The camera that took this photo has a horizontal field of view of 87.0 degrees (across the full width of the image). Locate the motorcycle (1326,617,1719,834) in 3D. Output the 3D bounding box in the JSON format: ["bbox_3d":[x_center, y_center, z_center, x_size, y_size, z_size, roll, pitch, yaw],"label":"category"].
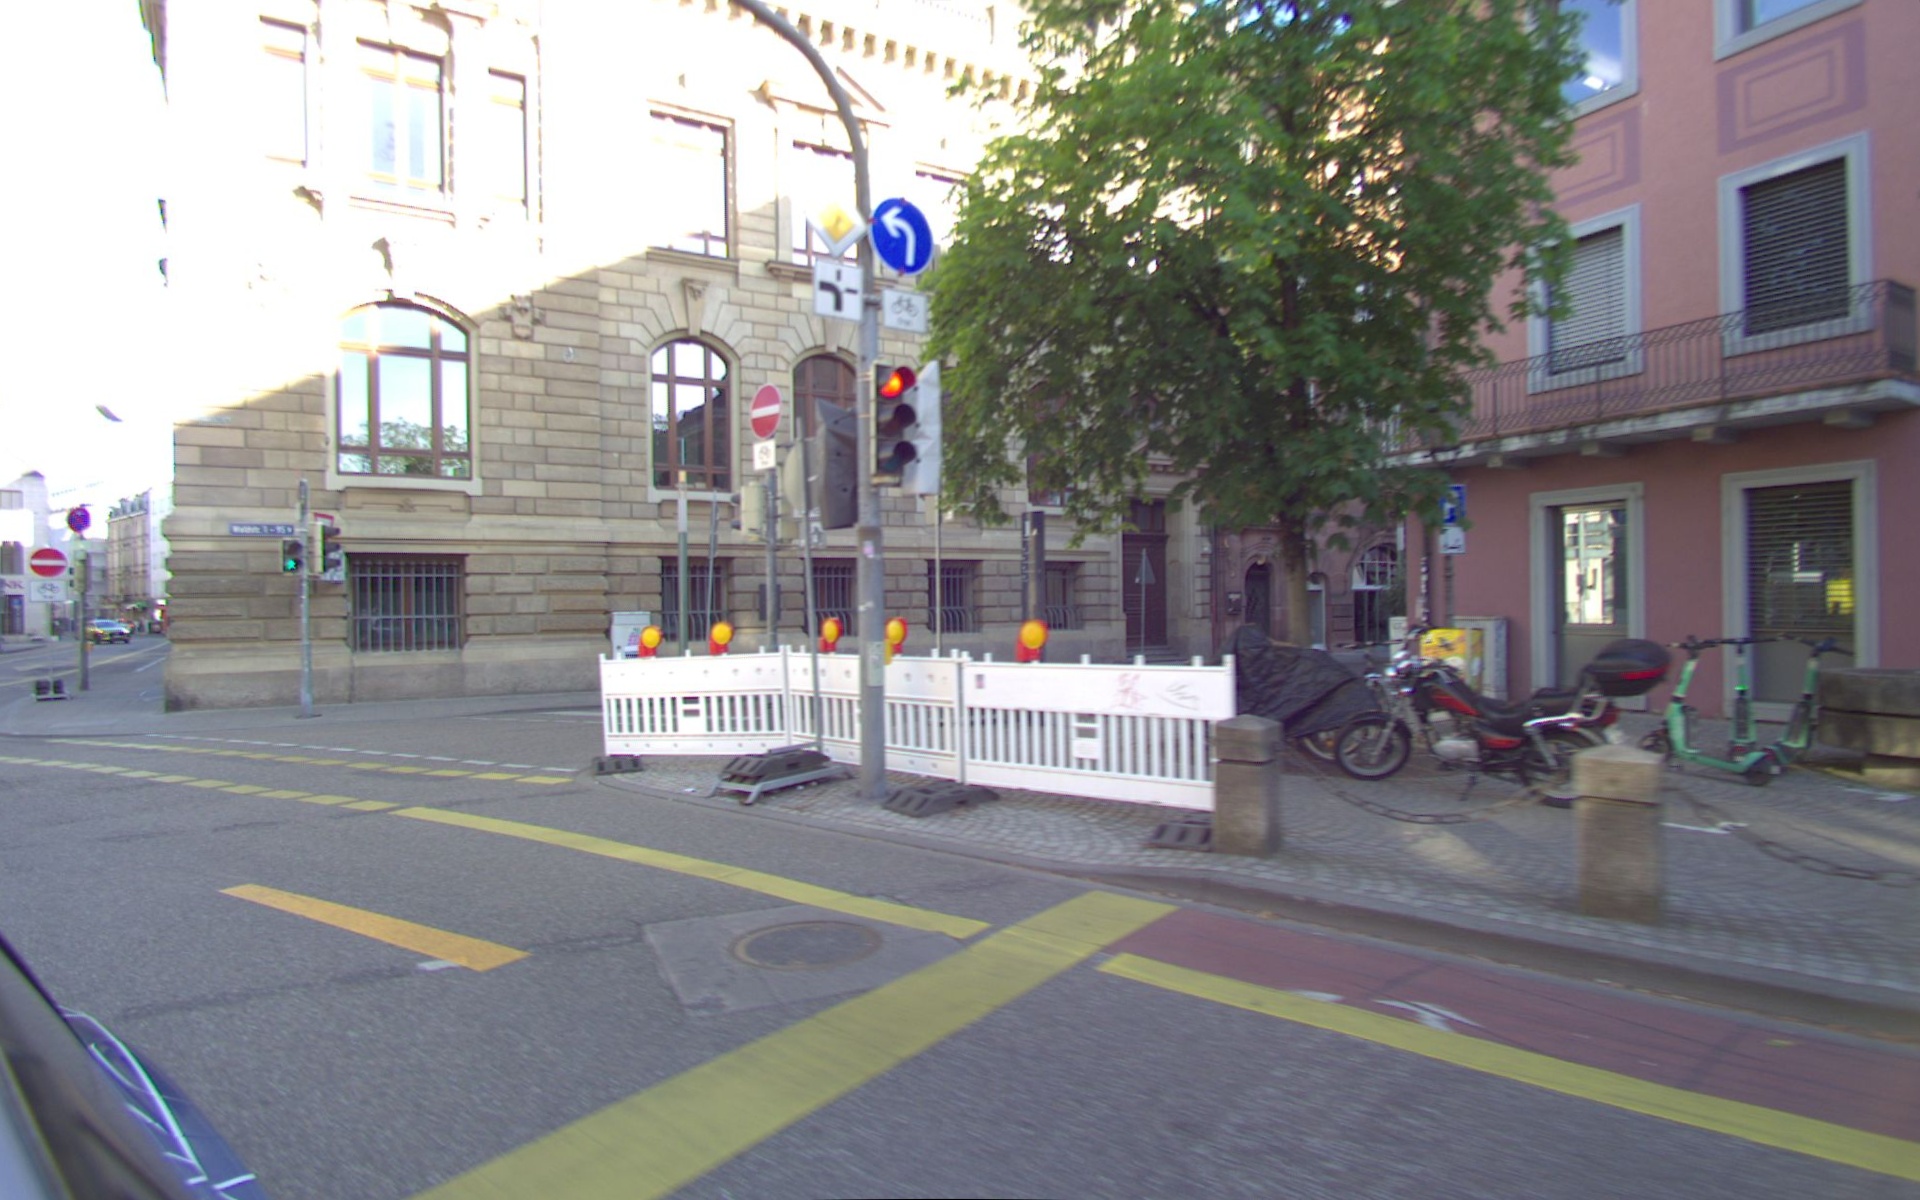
[{"bbox_3d":[3.962,0.799,7.339,0.802,1.327,2.340,1,-2,-42],"label":"motorcycle"}]

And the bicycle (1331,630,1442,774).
[{"bbox_3d":[4.031,0.905,9.705,0.677,1.215,1.996,1,-2,14],"label":"bicycle"}]

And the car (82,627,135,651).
[{"bbox_3d":[-56.781,2.571,67.448,4.248,1.503,1.832,-2,0,38],"label":"car"}]

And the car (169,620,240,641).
[{"bbox_3d":[-59.186,2.373,79.345,1.632,1.482,4.211,-2,-1,42],"label":"car"}]

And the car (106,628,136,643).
[{"bbox_3d":[-91.454,3.843,110.261,4.272,1.502,2.026,-2,-1,44],"label":"car"}]
